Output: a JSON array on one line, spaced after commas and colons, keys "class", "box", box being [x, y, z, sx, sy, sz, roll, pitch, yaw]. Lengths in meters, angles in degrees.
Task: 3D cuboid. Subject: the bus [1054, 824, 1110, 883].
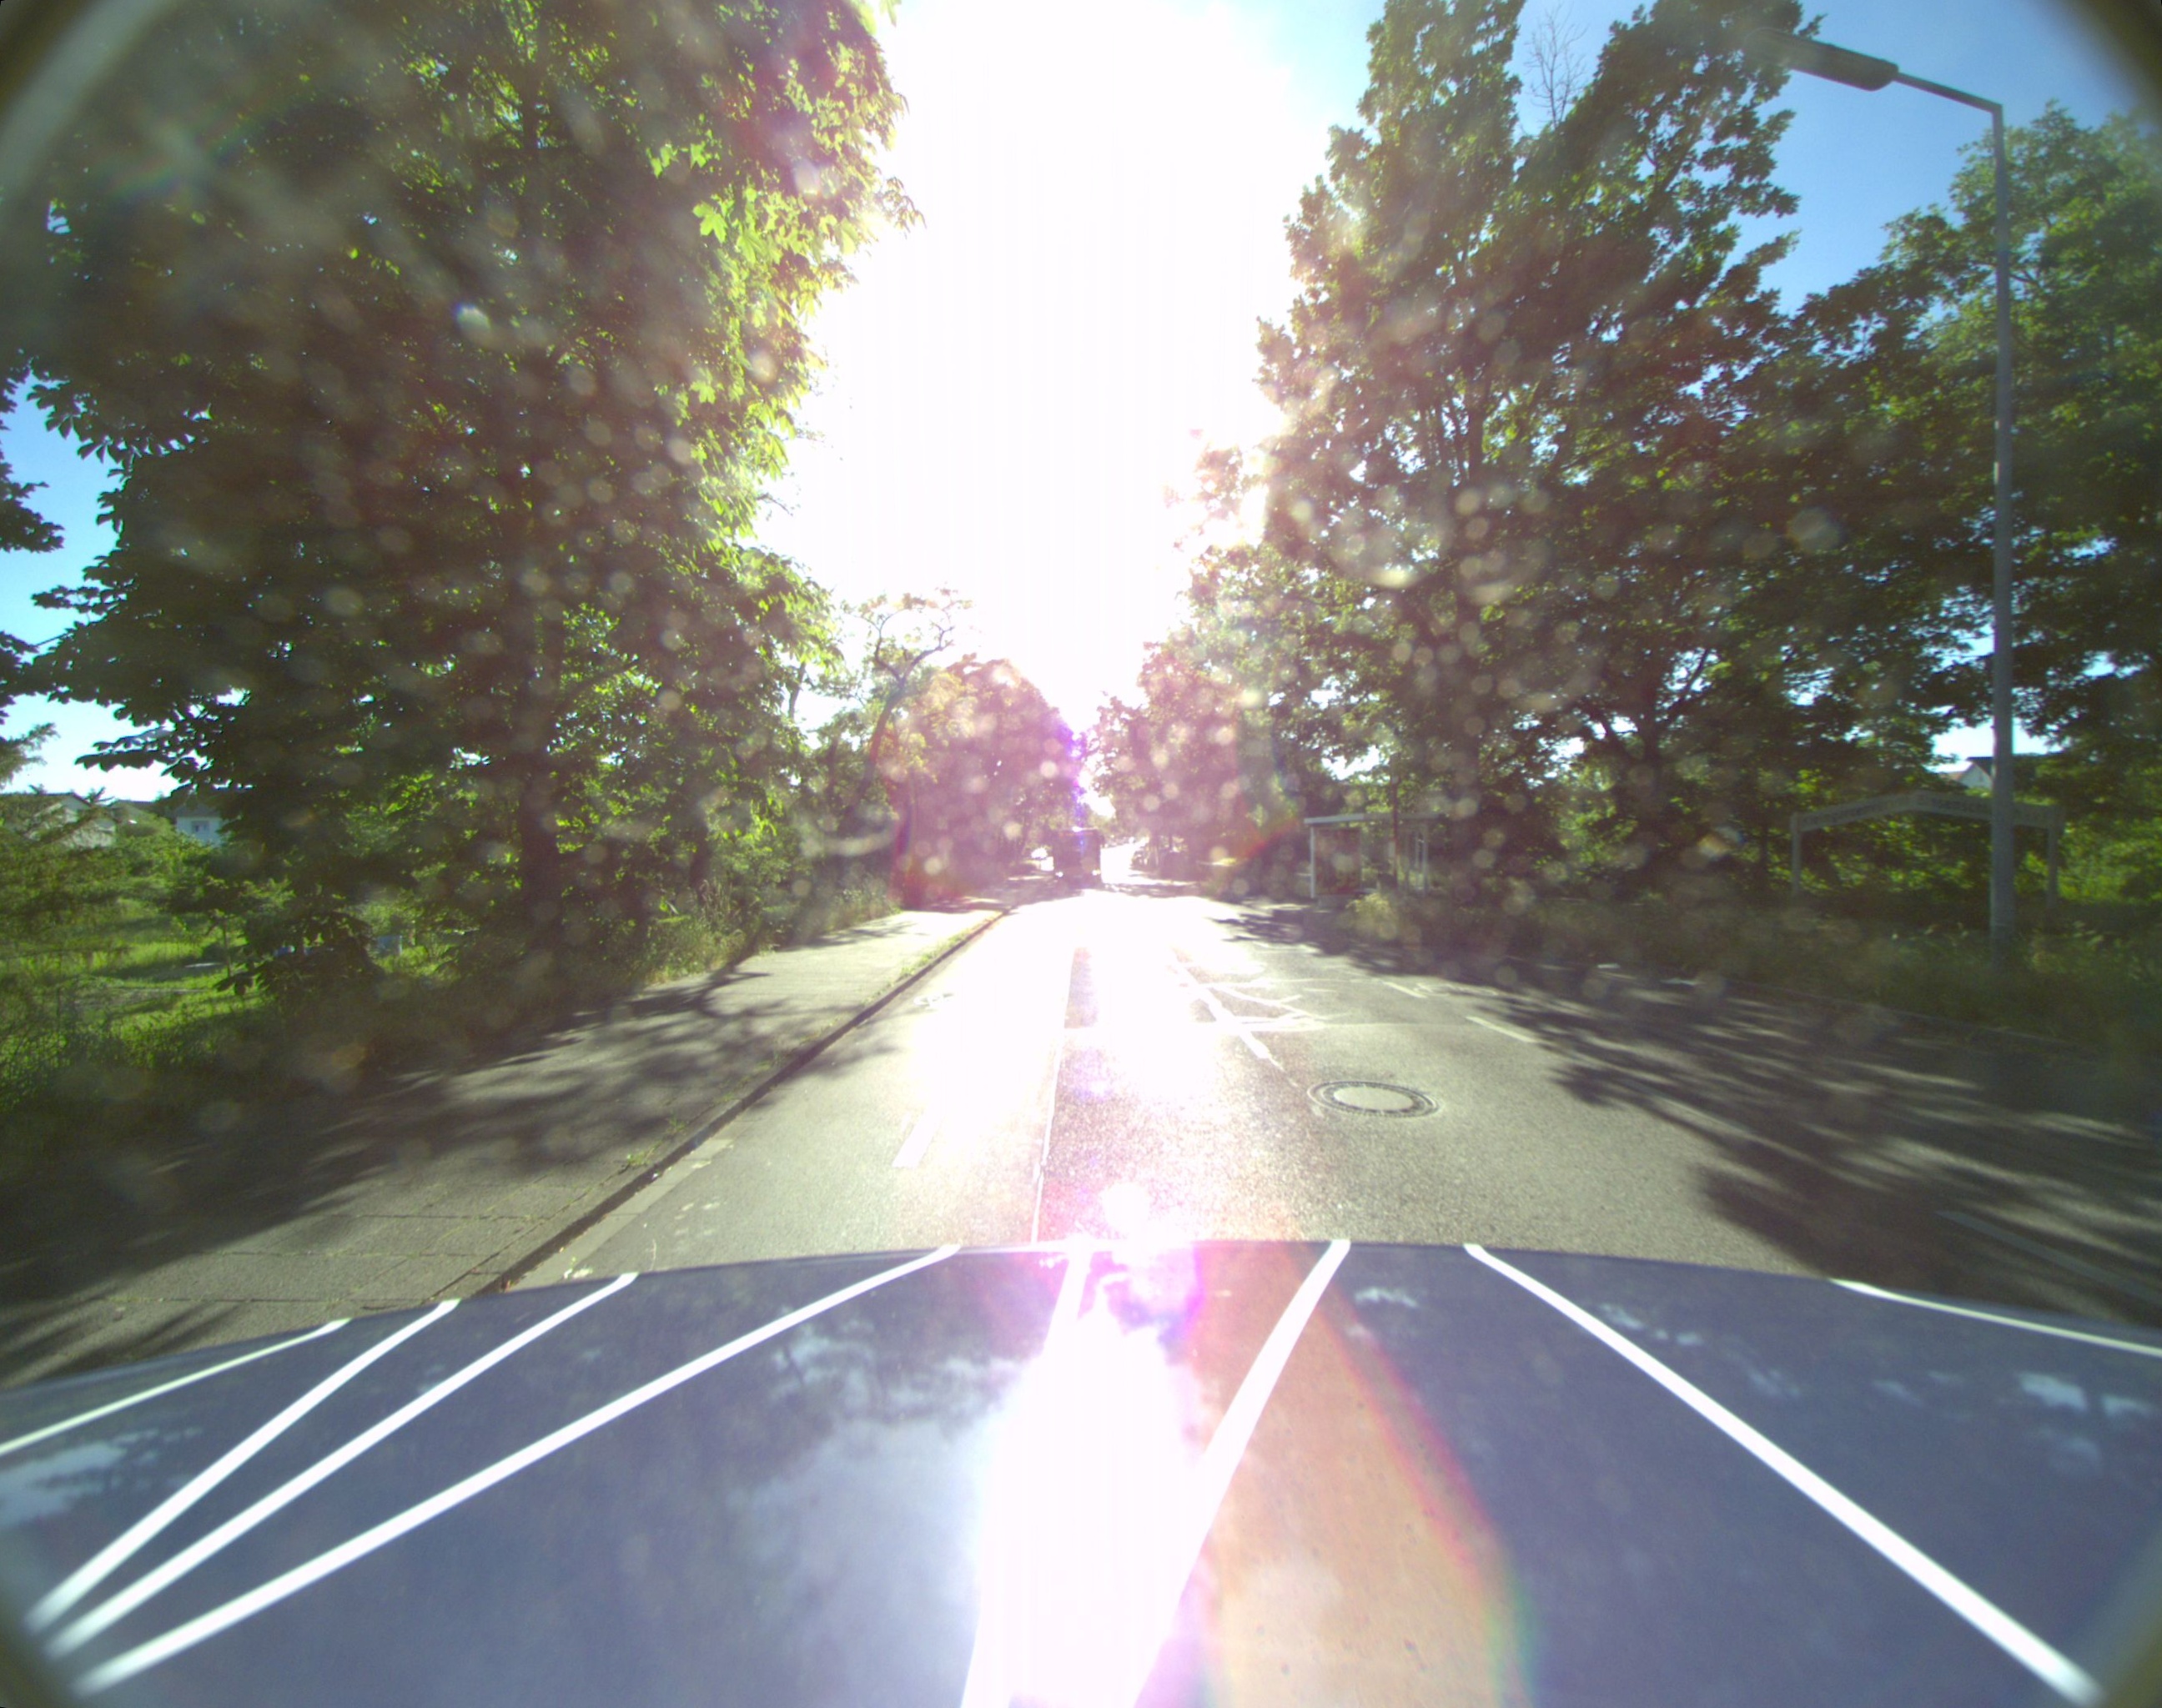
[{"class": "bus", "box": [0.000, -0.039, 46.011, 2.790, 2.965, 12.893, -2, 0, -1]}]
